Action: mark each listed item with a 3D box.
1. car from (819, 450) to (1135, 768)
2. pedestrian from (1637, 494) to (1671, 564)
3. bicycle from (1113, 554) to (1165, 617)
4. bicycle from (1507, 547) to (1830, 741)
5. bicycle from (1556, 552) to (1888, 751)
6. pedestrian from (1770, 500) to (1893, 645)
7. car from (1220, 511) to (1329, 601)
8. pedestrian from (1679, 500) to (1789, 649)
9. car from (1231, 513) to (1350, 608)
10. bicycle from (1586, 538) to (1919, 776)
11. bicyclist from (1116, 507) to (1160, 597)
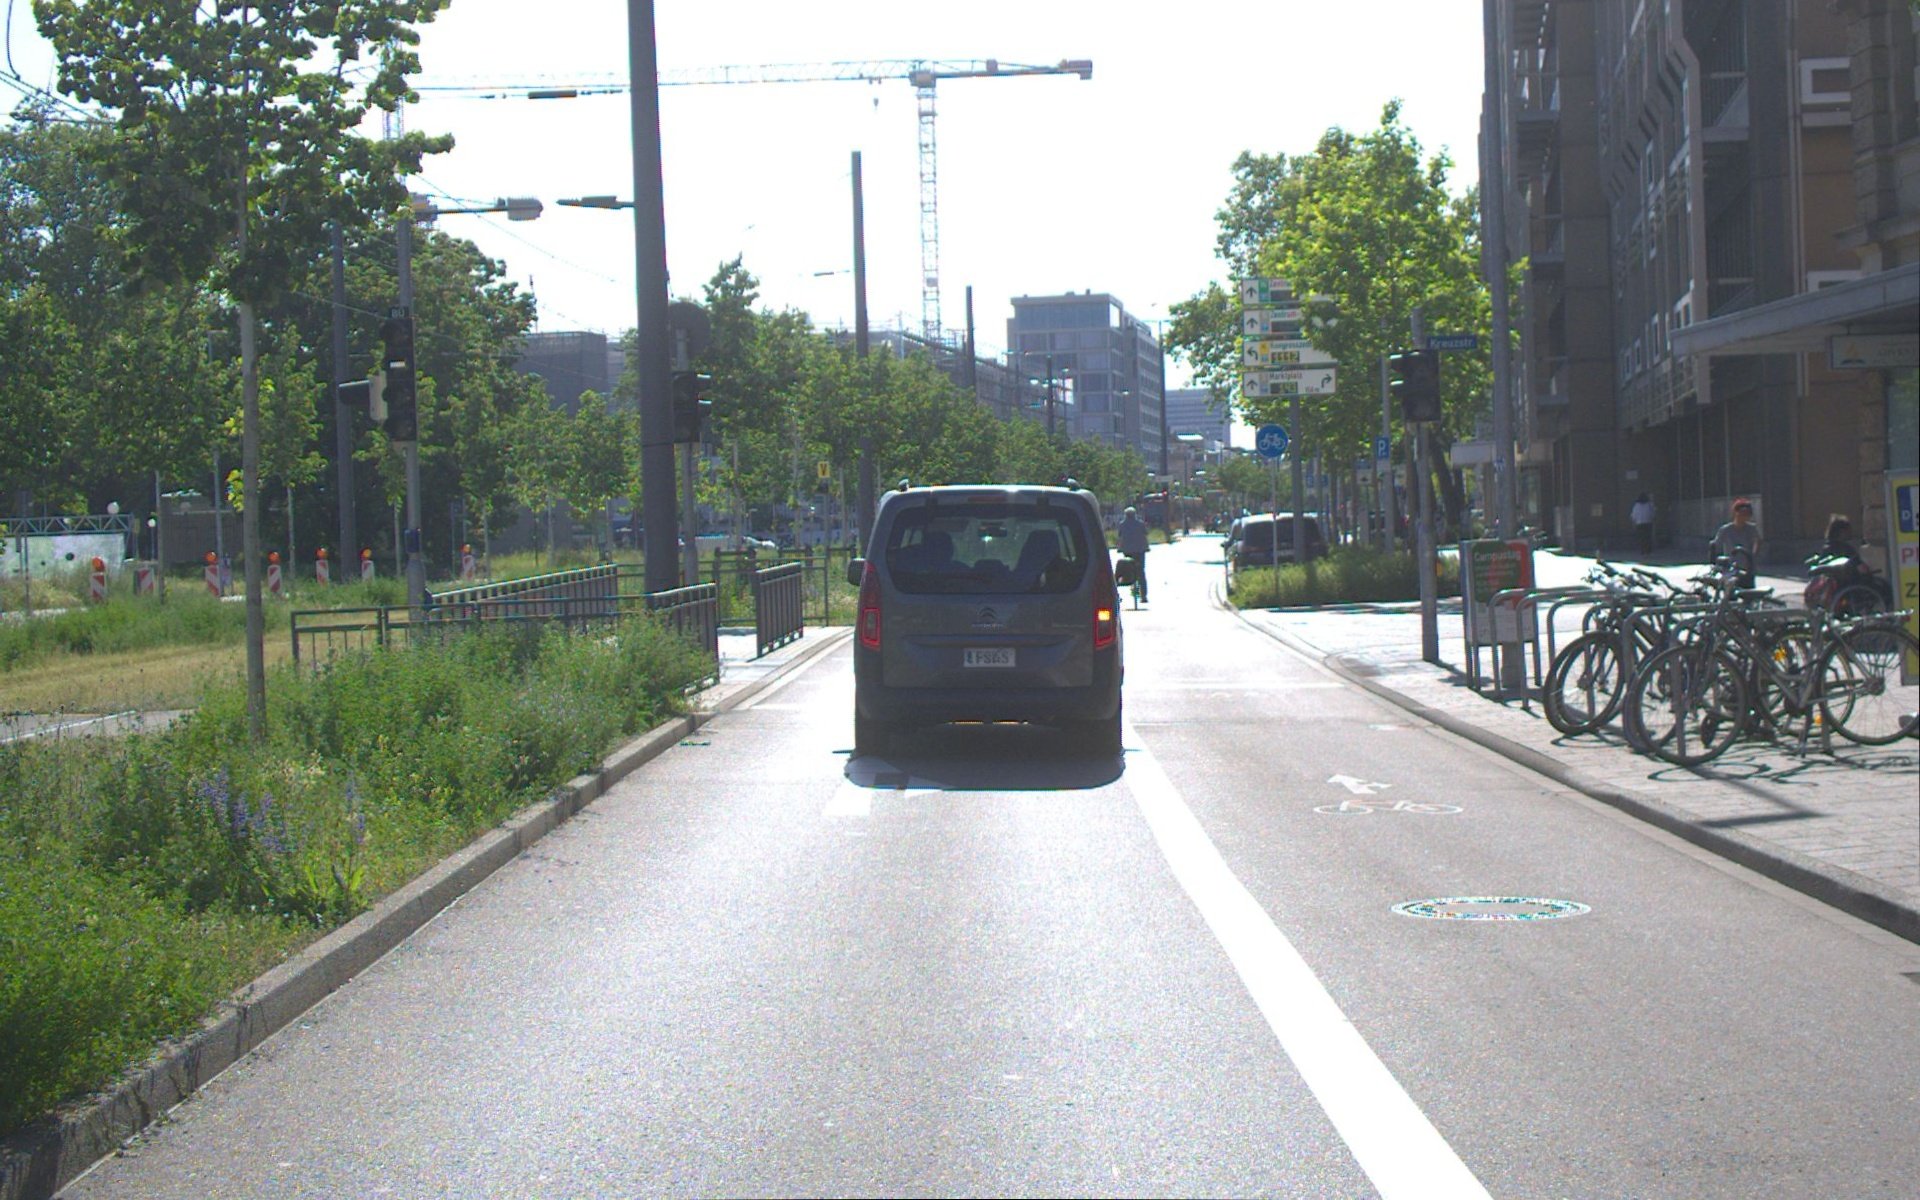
[{"bbox_3d":[0.092,0.006,23.860,1.993,2.007,4.000,0,2,0],"label":"car"},{"bbox_3d":[16.566,-1.707,82.101,0.700,1.647,0.724,-1,1,7],"label":"pedestrian"},{"bbox_3d":[3.177,-0.273,61.159,0.701,1.087,2.277,-1,1,-2],"label":"bicycle"},{"bbox_3d":[4.709,0.285,22.910,1.915,1.117,0.665,-5,1,-7],"label":"bicycle"},{"bbox_3d":[4.731,0.311,21.394,1.824,1.075,0.665,-5,1,-7],"label":"bicycle"},{"bbox_3d":[8.164,-0.264,32.235,0.832,1.283,1.007,-3,1,0],"label":"pedestrian"},{"bbox_3d":[6.221,-0.869,68.379,2.021,1.716,4.118,0,0,4],"label":"car"},{"bbox_3d":[7.359,-0.242,32.728,0.703,1.331,1.011,-5,0,0],"label":"pedestrian"},{"bbox_3d":[5.935,-0.708,62.057,1.988,1.632,4.189,0,0,4],"label":"car"},{"bbox_3d":[4.643,0.319,19.857,1.878,1.229,0.500,-4,1,-7],"label":"bicycle"},{"bbox_3d":[3.162,-0.857,61.154,0.682,1.579,0.840,-1,1,-2],"label":"bicyclist"}]
